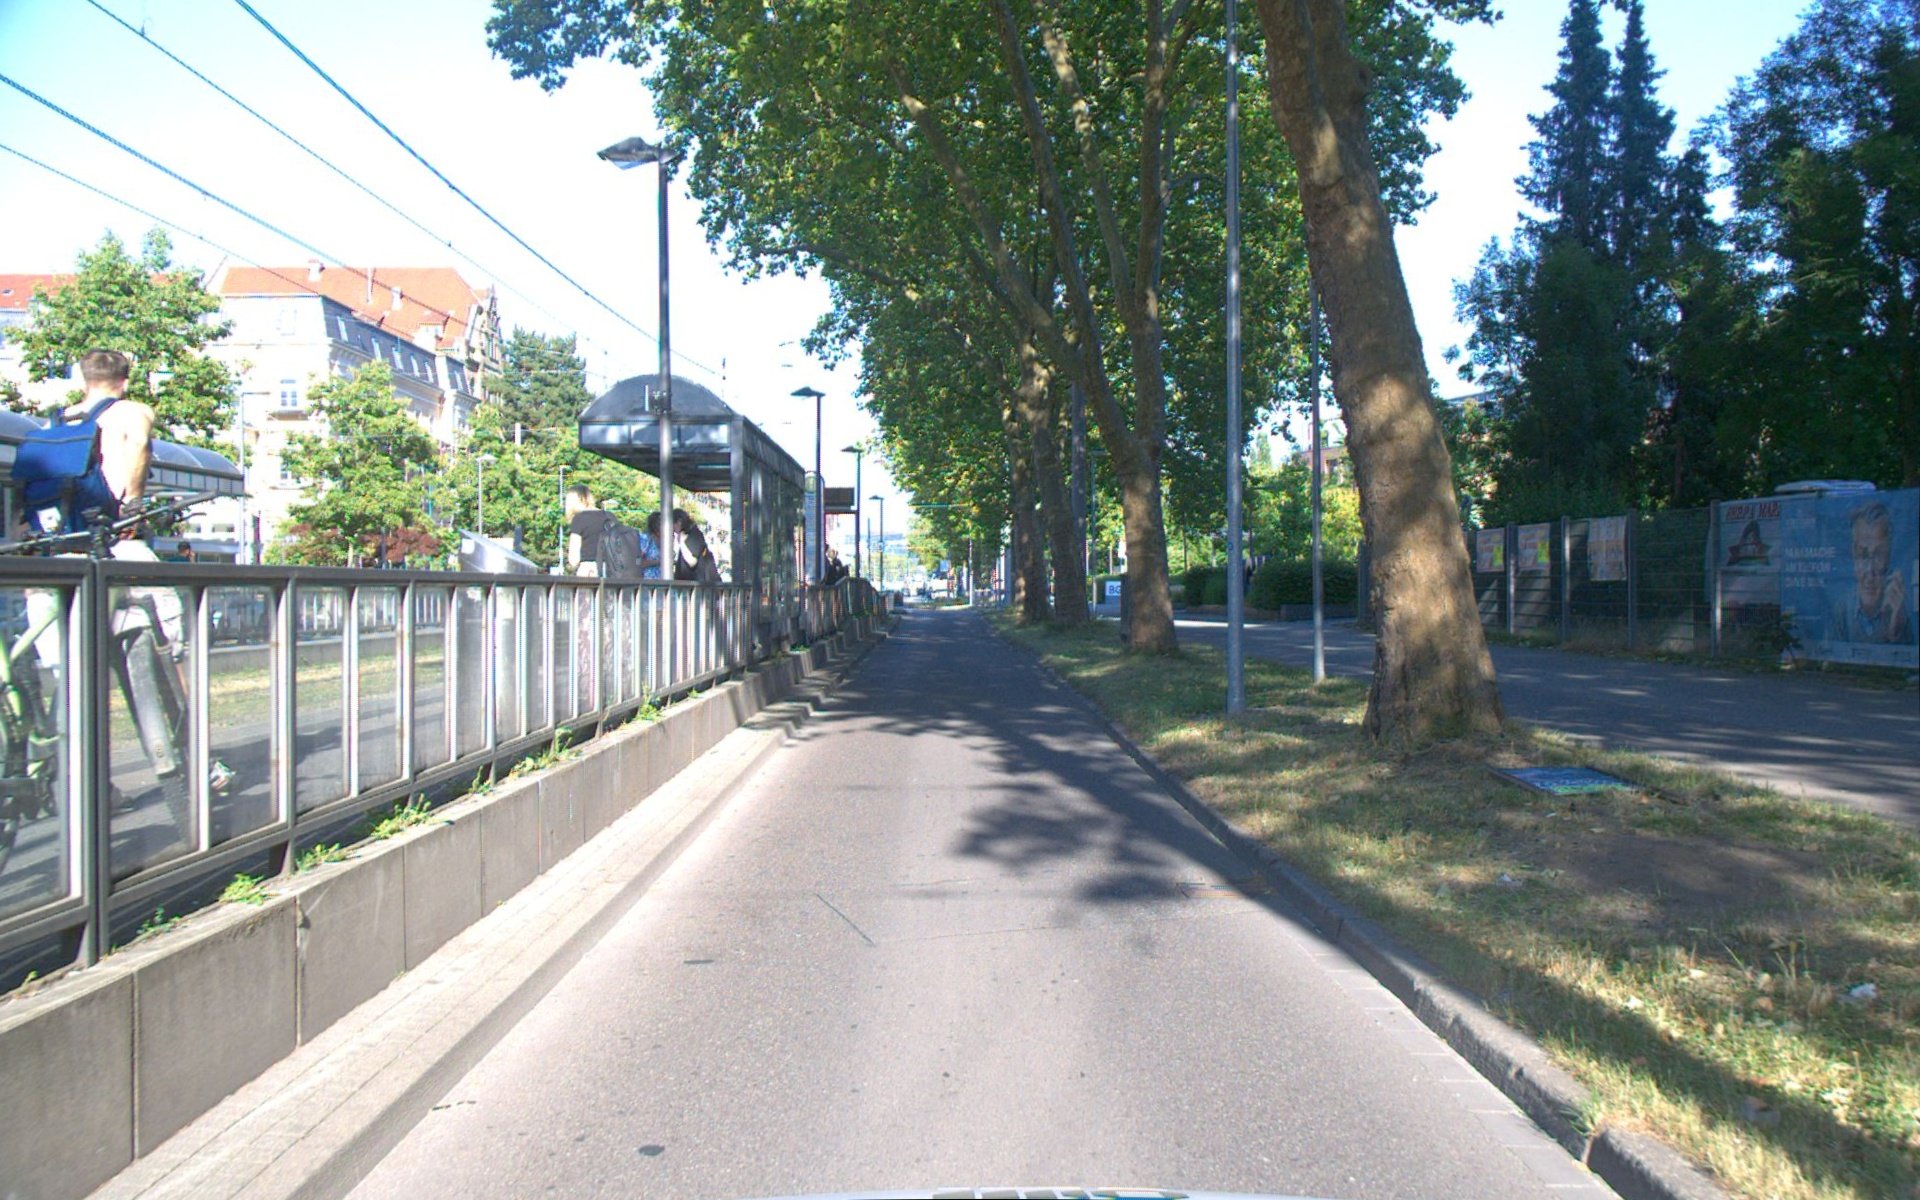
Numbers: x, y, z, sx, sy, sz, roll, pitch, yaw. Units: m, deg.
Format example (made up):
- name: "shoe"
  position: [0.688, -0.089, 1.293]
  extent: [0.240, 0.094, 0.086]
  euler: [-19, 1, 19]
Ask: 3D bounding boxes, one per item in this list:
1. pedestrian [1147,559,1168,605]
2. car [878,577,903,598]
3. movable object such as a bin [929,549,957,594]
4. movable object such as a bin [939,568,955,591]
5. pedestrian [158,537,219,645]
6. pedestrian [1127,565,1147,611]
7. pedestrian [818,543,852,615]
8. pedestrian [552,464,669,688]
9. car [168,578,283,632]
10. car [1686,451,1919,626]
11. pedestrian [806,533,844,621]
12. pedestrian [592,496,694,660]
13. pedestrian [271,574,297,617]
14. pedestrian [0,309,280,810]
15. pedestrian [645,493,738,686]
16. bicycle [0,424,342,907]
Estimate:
- name: "pedestrian"
  position: [7.294, -0.656, 61.196]
  extent: [0.636, 1.685, 0.783]
  euler: [-2, 0, -1]
- name: "car"
  position: [-5.901, -1.027, 140.309]
  extent: [1.953, 1.713, 3.999]
  euler: [2, 0, -1]
- name: "movable object such as a bin"
  position: [-2.048, -3.420, 200.385]
  extent: [3.025, 5.176, 8.889]
  euler: [-3, 0, -1]
- name: "movable object such as a bin"
  position: [-1.742, -2.746, 222.557]
  extent: [1.928, 3.065, 4.795]
  euler: [-3, 0, -1]
- name: "pedestrian"
  position: [-12.625, -0.148, 27.083]
  extent: [0.665, 1.719, 0.654]
  euler: [1, 0, -3]
- name: "pedestrian"
  position: [6.576, -0.454, 61.337]
  extent: [0.615, 1.685, 0.740]
  euler: [-2, 0, -1]
- name: "pedestrian"
  position: [-3.034, -0.512, 40.283]
  extent: [0.741, 1.719, 0.678]
  euler: [1, 0, -1]
- name: "pedestrian"
  position: [-2.582, -0.174, 12.307]
  extent: [0.664, 1.589, 0.851]
  euler: [1, 0, -1]
- name: "car"
  position: [-23.563, 0.136, 53.211]
  extent: [1.685, 1.614, 4.067]
  euler: [2, 0, 3]
- name: "car"
  position: [14.368, -0.904, 27.418]
  extent: [1.952, 2.543, 6.347]
  euler: [1, 0, 1]
- name: "pedestrian"
  position: [-2.689, -0.459, 33.017]
  extent: [0.665, 1.719, 0.894]
  euler: [1, 0, -1]
- name: "pedestrian"
  position: [-3.493, -0.236, 18.227]
  extent: [0.900, 1.752, 0.624]
  euler: [1, 0, -35]
- name: "pedestrian"
  position: [-26.598, -0.190, 65.109]
  extent: [0.710, 1.676, 0.811]
  euler: [-2, 0, -7]
- name: "pedestrian"
  position: [-3.190, -0.150, 6.389]
  extent: [0.769, 1.801, 0.773]
  euler: [1, 0, -1]
- name: "pedestrian"
  position: [-2.557, -0.101, 15.817]
  extent: [0.749, 1.789, 0.695]
  euler: [1, 0, -1]
- name: "bicycle"
  position: [-2.595, 0.141, 4.968]
  extent: [0.722, 1.153, 2.030]
  euler: [1, 0, -1]
